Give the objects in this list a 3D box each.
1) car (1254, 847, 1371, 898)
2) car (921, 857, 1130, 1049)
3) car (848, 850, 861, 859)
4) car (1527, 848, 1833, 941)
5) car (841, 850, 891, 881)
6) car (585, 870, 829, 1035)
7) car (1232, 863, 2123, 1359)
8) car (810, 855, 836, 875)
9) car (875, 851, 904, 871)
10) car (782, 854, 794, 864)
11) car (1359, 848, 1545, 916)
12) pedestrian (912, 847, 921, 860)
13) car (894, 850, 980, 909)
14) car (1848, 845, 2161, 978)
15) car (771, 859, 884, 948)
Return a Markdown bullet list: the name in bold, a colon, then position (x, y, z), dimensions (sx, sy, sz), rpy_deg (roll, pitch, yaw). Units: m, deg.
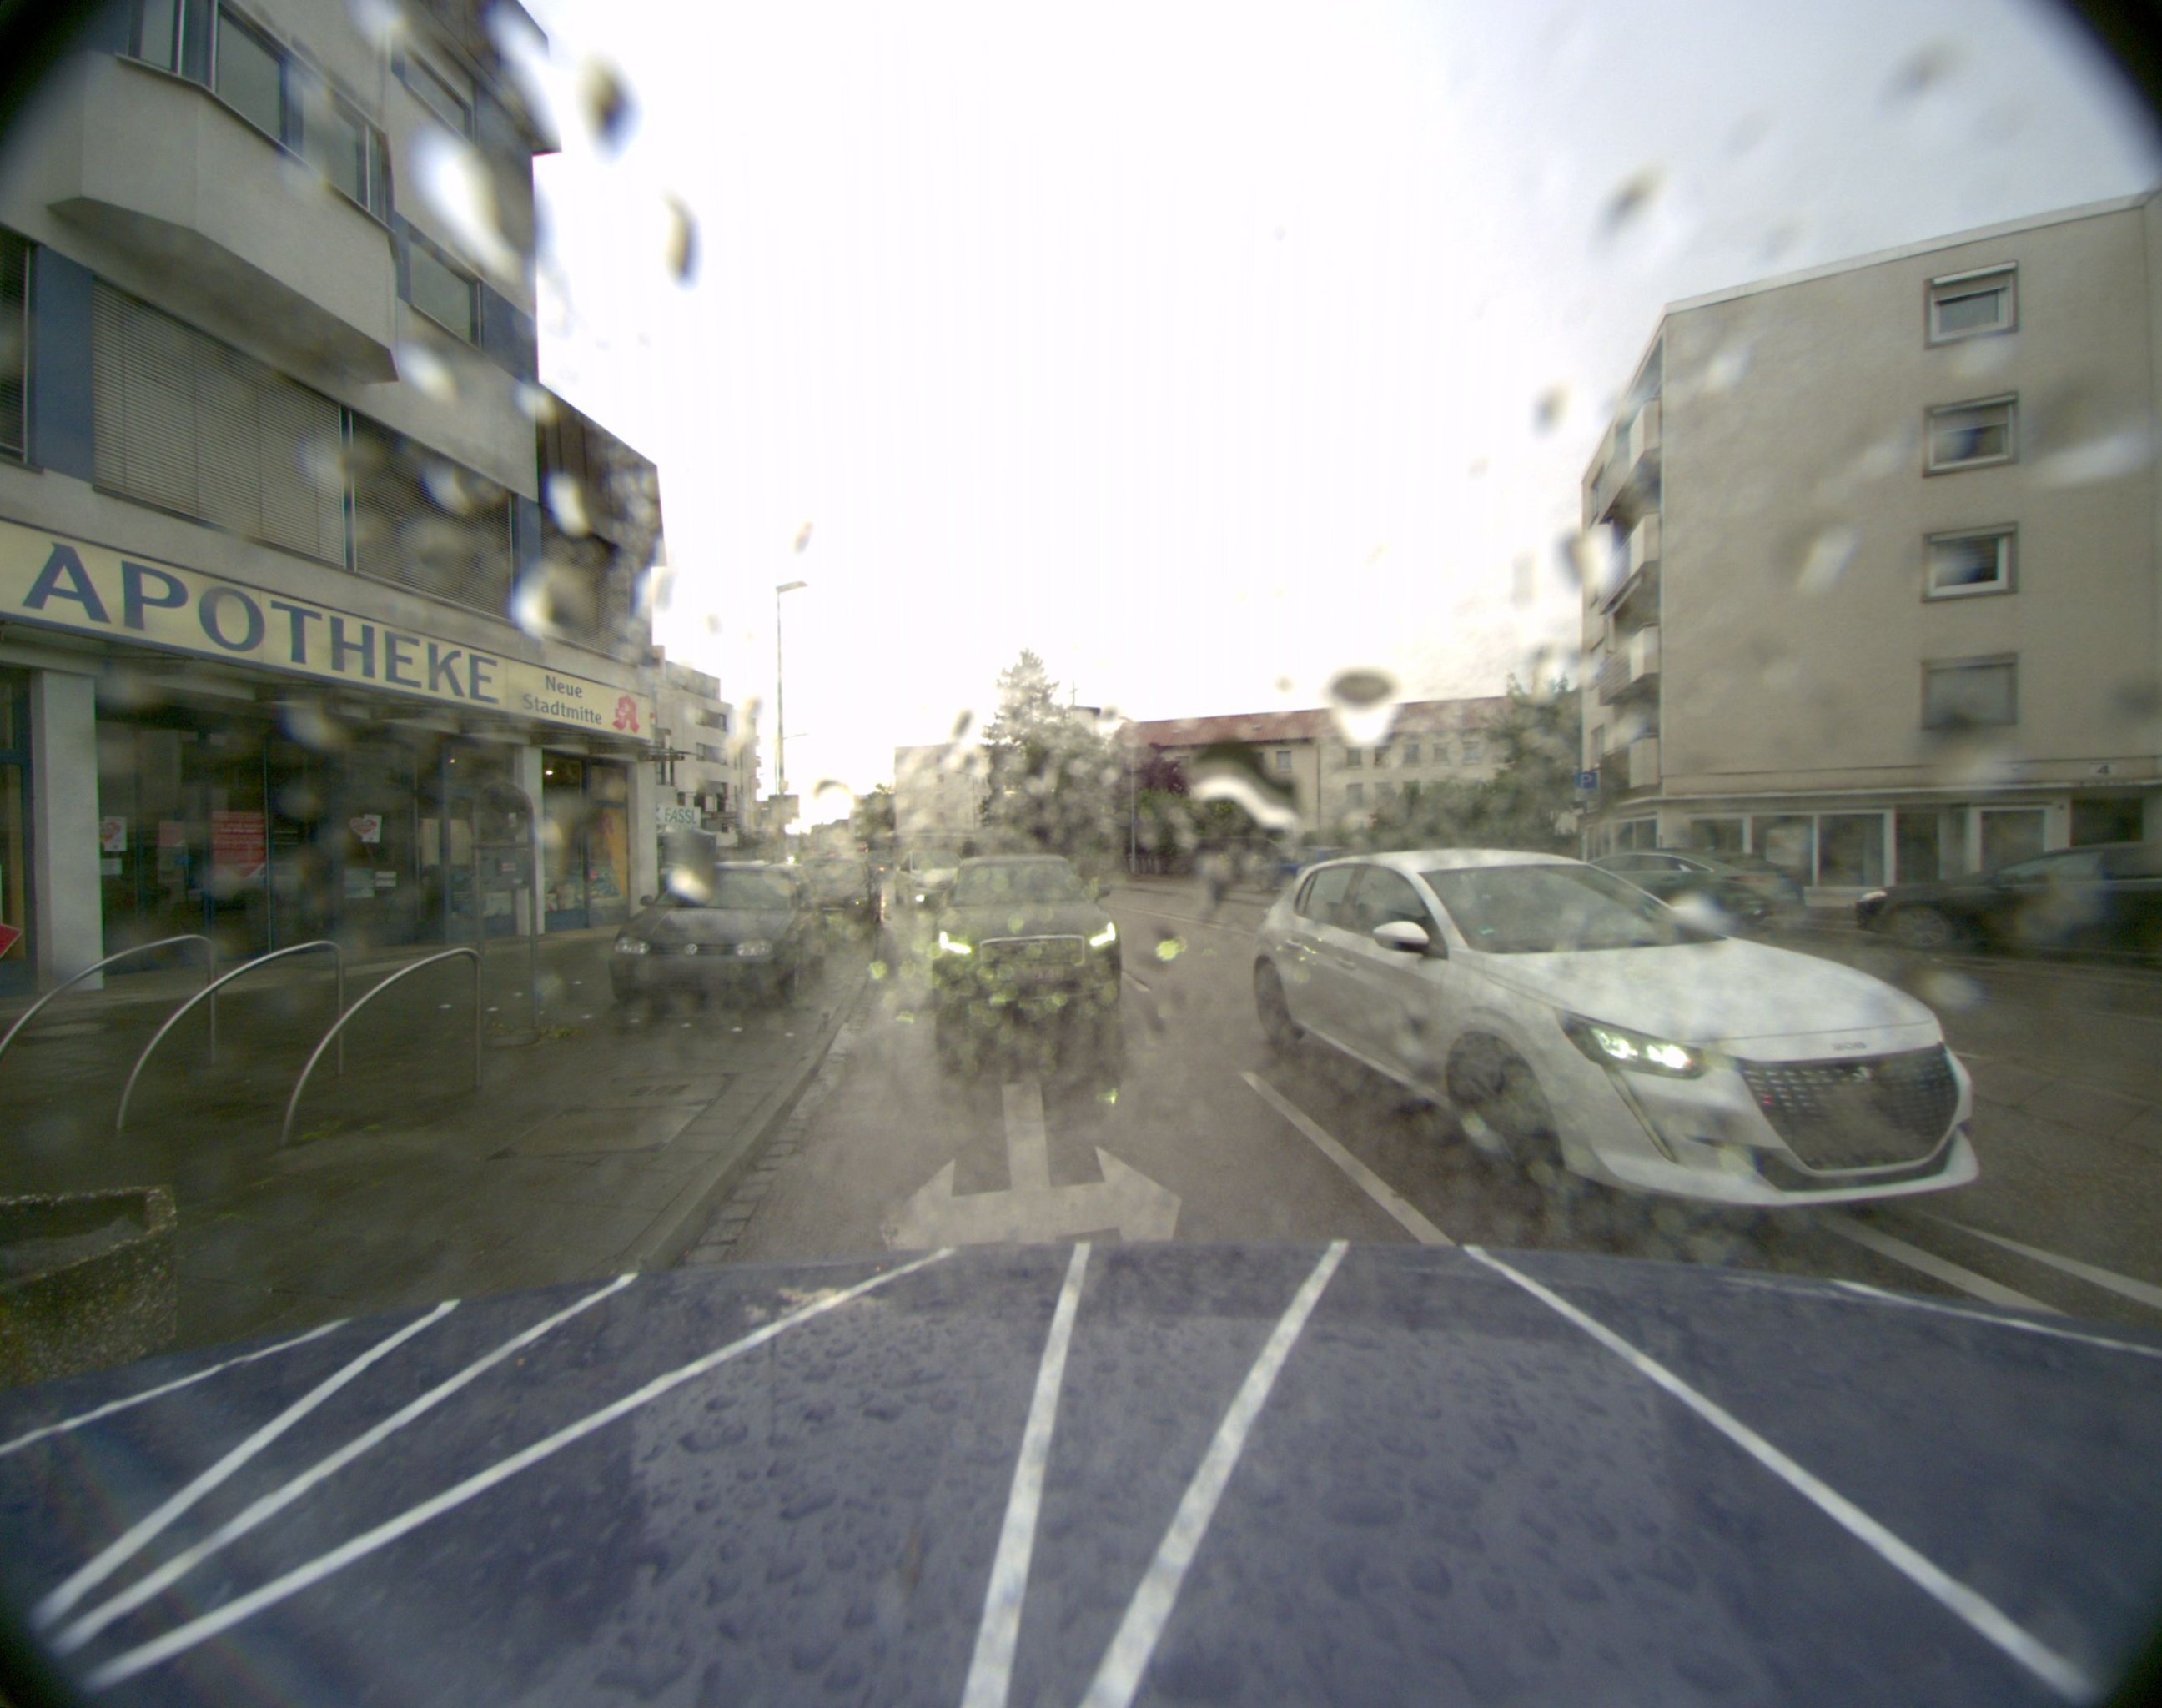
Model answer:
- **car**: position (7.422, 0.525, 24.771), dimensions (1.636, 1.497, 3.873), rpy_deg (-1, 1, -20)
- **car**: position (-0.733, 0.836, 8.428), dimensions (1.735, 1.436, 4.042), rpy_deg (-2, 2, -8)
- **car**: position (-38.286, 0.077, 128.552), dimensions (1.874, 1.428, 3.733), rpy_deg (-1, 1, -20)
- **car**: position (11.148, 0.638, 14.562), dimensions (1.839, 1.426, 4.266), rpy_deg (-2, 2, -21)
- **car**: position (-10.600, 0.532, 37.275), dimensions (1.804, 1.361, 3.964), rpy_deg (-1, 2, -24)
- **car**: position (-4.002, 0.940, 8.779), dimensions (1.656, 1.364, 3.727), rpy_deg (1, 0, -12)
- **car**: position (2.429, 0.825, 4.410), dimensions (1.744, 1.401, 3.892), rpy_deg (-3, 1, -9)
- **car**: position (-22.587, 0.915, 66.403), dimensions (2.002, 1.606, 3.993), rpy_deg (-3, 1, -20)
- **car**: position (-14.763, 0.519, 58.434), dimensions (1.753, 1.446, 3.806), rpy_deg (-1, 2, -20)
- **car**: position (-51.532, 0.875, 133.450), dimensions (1.747, 1.630, 3.991), rpy_deg (-1, 1, -24)
- **car**: position (9.287, 0.621, 19.466), dimensions (1.639, 1.491, 4.338), rpy_deg (-1, 1, -21)
- **pedestrian**: position (-20.638, -0.069, 95.258), dimensions (0.857, 1.726, 0.834), rpy_deg (-1, 2, -29)
- **car**: position (-4.231, 0.670, 21.831), dimensions (1.736, 1.519, 4.056), rpy_deg (-1, 0, -21)
- **car**: position (12.923, 0.644, 9.595), dimensions (1.839, 1.451, 4.180), rpy_deg (-2, 2, -21)
- **car**: position (-4.798, 0.848, 14.850), dimensions (1.660, 1.416, 3.995), rpy_deg (-1, 1, -12)
